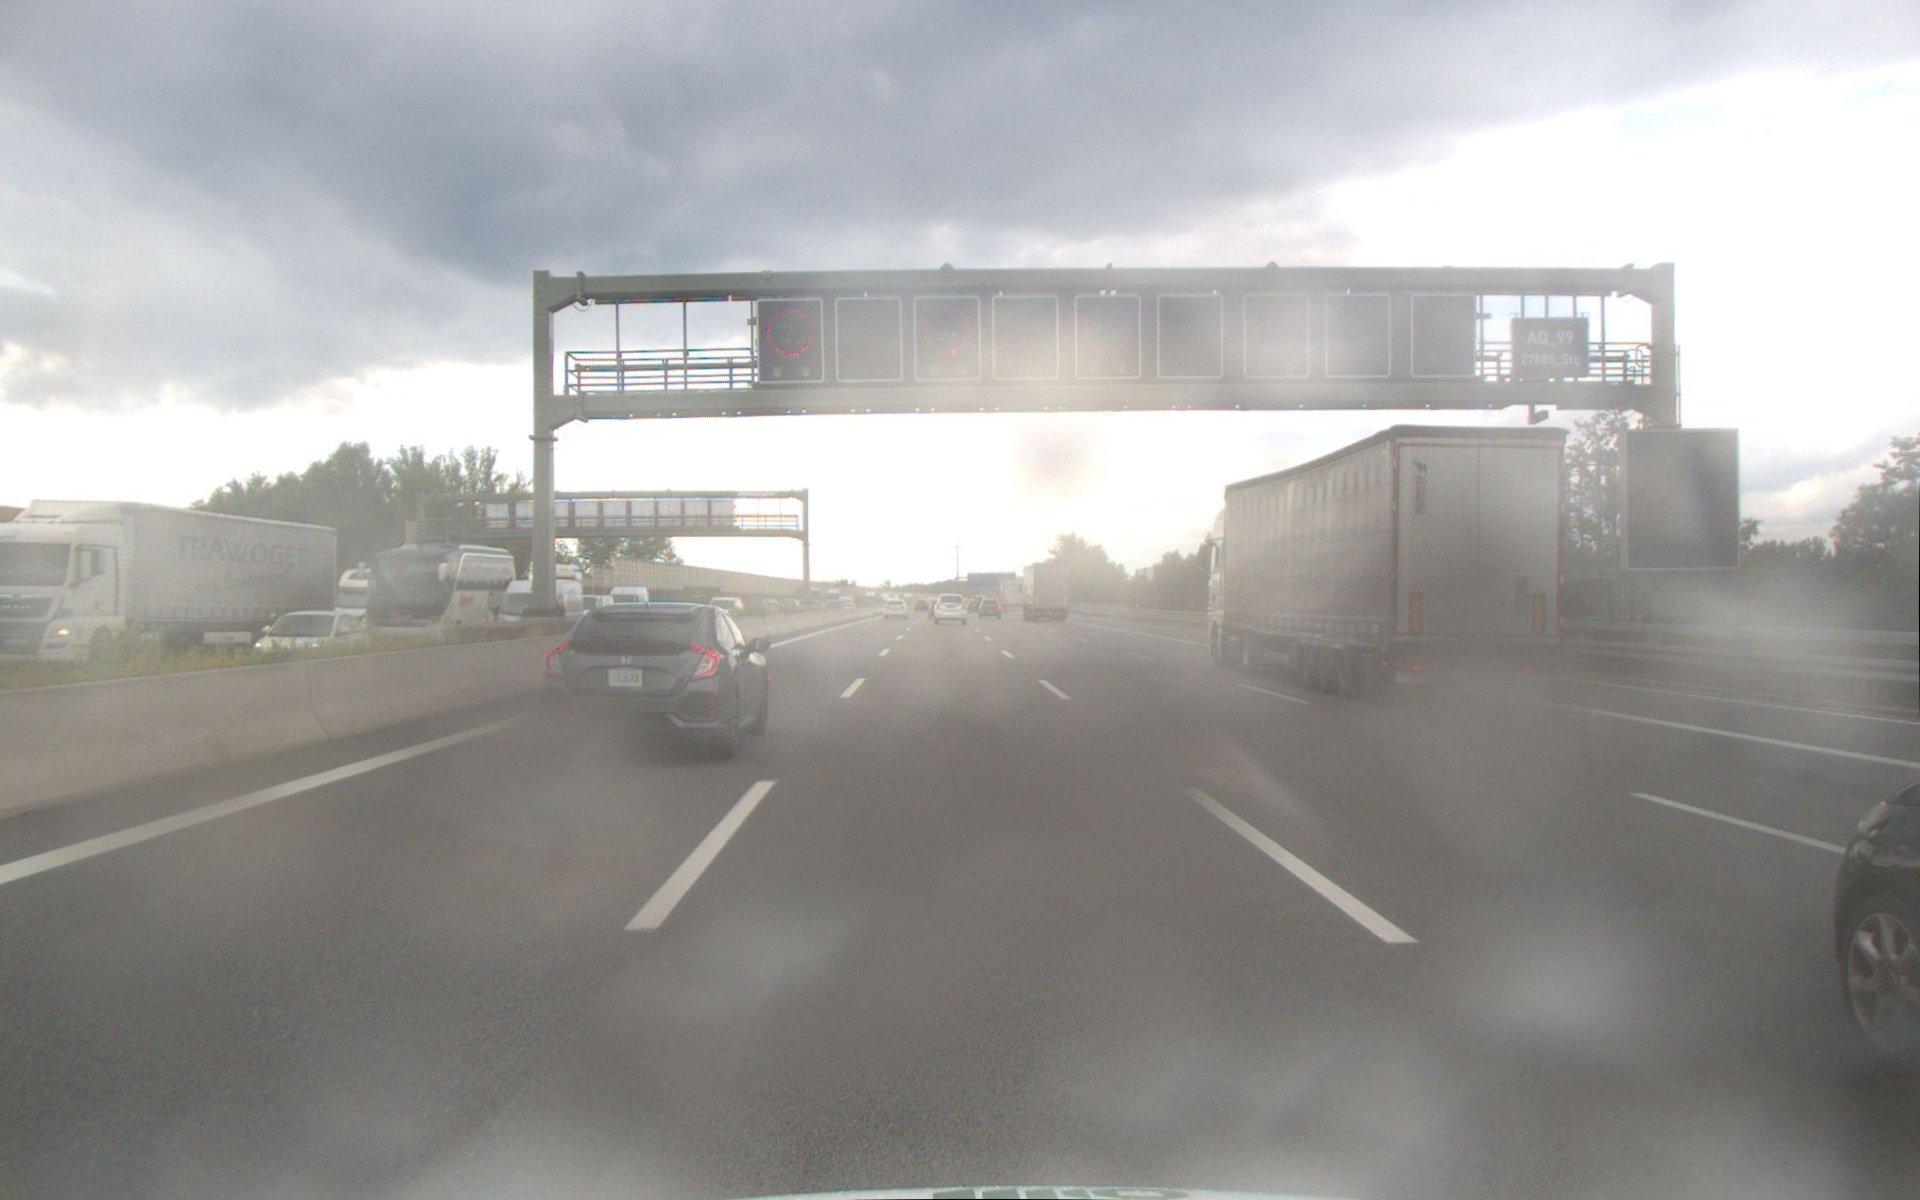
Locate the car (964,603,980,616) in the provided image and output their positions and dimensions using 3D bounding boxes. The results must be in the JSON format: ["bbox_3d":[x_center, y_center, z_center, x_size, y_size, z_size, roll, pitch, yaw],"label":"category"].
[{"bbox_3d":[1.391,1.131,193.016,1.798,1.466,4.054,1,0,-1],"label":"car"}]

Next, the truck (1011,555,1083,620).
[{"bbox_3d":[6.211,-0.879,120.924,4.096,4.363,12.608,1,0,-2],"label":"truck"}]

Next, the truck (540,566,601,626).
[{"bbox_3d":[-26.164,-0.253,111.289,2.696,3.955,6.050,0,0,0],"label":"truck"}]

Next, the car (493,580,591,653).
[{"bbox_3d":[-14.556,0.534,57.922,2.093,2.393,5.708,1,0,-2],"label":"car"}]

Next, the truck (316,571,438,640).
[{"bbox_3d":[-25.569,0.260,72.912,2.636,2.863,7.833,0,0,0],"label":"truck"}]

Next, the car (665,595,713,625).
[{"bbox_3d":[-19.092,0.670,116.899,2.399,2.087,6.193,0,0,0],"label":"car"}]

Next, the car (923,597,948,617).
[{"bbox_3d":[-1.871,0.559,126.693,1.737,1.466,4.053,1,0,-3],"label":"car"}]

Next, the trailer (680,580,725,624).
[{"bbox_3d":[-19.118,0.138,123.031,2.399,3.193,6.050,0,0,0],"label":"trailer"}]

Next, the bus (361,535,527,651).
[{"bbox_3d":[-18.058,-0.220,58.746,2.600,3.744,10.633,0,0,0],"label":"bus"}]

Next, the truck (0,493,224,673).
[{"bbox_3d":[-21.453,-0.400,41.273,2.827,4.031,7.534,1,0,-1],"label":"truck"}]

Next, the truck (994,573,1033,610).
[{"bbox_3d":[6.426,-1.039,201.059,4.158,4.249,11.986,1,0,-1],"label":"truck"}]

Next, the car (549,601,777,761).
[{"bbox_3d":[-2.978,0.743,17.571,1.725,1.393,5.057,1,0,-3],"label":"car"}]

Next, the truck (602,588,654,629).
[{"bbox_3d":[-22.332,0.572,111.439,2.198,2.649,6.558,0,0,0],"label":"truck"}]

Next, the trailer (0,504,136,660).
[{"bbox_3d":[-26.130,-0.450,43.027,2.967,4.002,12.973,0,0,0],"label":"trailer"}]

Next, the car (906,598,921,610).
[{"bbox_3d":[-5.650,0.459,202.076,1.737,1.466,4.053,1,0,-3],"label":"car"}]

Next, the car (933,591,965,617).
[{"bbox_3d":[-0.684,0.243,98.051,1.737,1.466,4.053,1,0,-3],"label":"car"}]

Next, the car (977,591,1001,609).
[{"bbox_3d":[2.337,-0.003,134.967,1.798,1.466,4.054,1,0,-1],"label":"car"}]

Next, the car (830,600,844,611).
[{"bbox_3d":[-18.454,0.796,248.567,1.711,1.552,4.927,0,0,0],"label":"car"}]

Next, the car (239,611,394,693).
[{"bbox_3d":[-13.676,1.062,35.400,1.701,1.566,4.375,1,0,-2],"label":"car"}]

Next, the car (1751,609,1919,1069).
[{"bbox_3d":[3.813,0.779,4.835,1.418,1.466,3.162,0,0,-2],"label":"car"}]

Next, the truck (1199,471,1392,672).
[{"bbox_3d":[7.354,-0.608,37.179,2.901,4.090,6.588,1,0,-1],"label":"truck"}]

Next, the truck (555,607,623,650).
[{"bbox_3d":[-18.281,1.387,81.712,2.198,2.035,5.543,0,0,-1],"label":"truck"}]

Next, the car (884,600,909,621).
[{"bbox_3d":[-4.669,0.761,121.356,1.737,1.466,3.872,1,0,-3],"label":"car"}]

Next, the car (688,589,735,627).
[{"bbox_3d":[-15.627,0.500,104.235,2.184,2.276,5.512,0,0,0],"label":"car"}]

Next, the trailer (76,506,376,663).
[{"bbox_3d":[-21.584,-0.418,50.098,2.827,4.031,14.296,1,0,-1],"label":"trailer"}]

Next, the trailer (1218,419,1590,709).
[{"bbox_3d":[7.417,-0.563,30.564,2.901,4.090,14.116,1,0,-1],"label":"trailer"}]
